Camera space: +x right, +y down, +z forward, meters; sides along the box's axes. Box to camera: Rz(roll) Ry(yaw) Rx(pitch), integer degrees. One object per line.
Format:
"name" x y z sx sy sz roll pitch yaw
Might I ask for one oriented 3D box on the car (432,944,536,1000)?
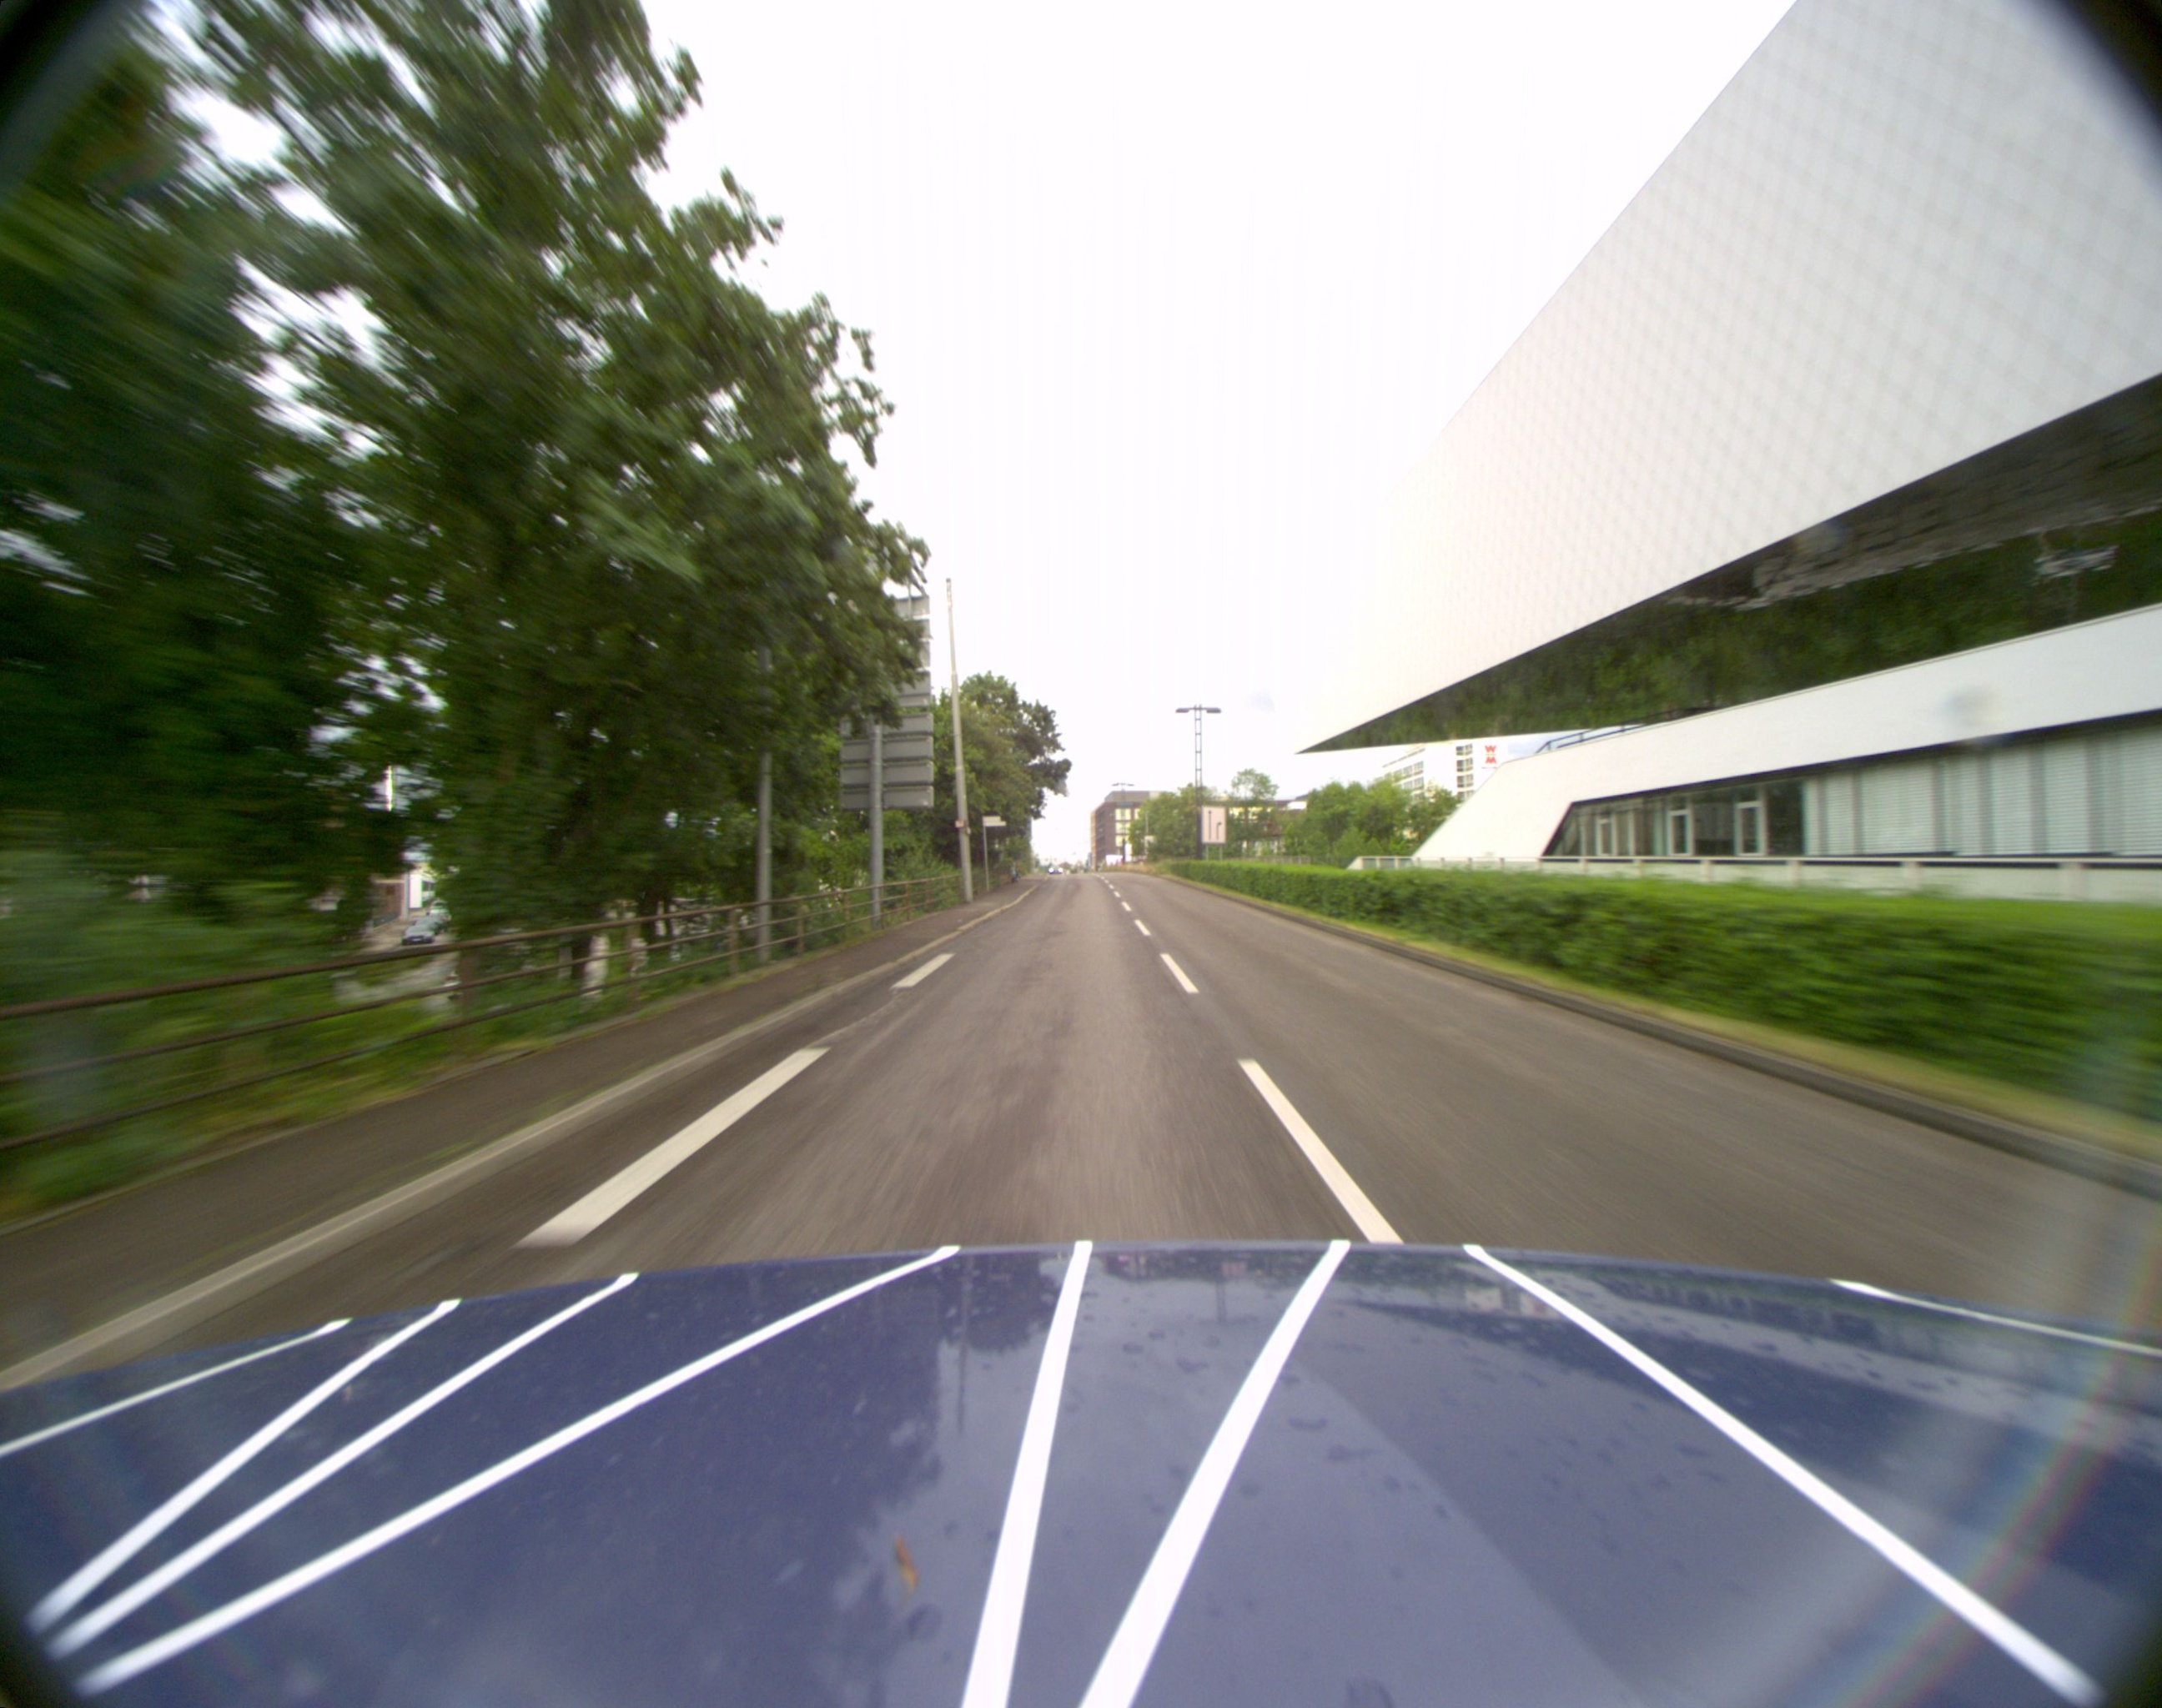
"car" -23.179 4.529 29.692 1.749 1.415 4.444 -3 0 -19

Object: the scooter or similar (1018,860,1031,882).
"scooter or similar" -3.205 0.946 42.968 0.574 1.201 1.467 -1 1 0

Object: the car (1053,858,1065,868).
"car" -3.383 1.394 118.312 1.841 1.574 4.288 -1 0 -2

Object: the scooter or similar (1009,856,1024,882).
"scooter or similar" -3.129 0.712 37.131 0.539 1.225 1.844 -1 1 0
